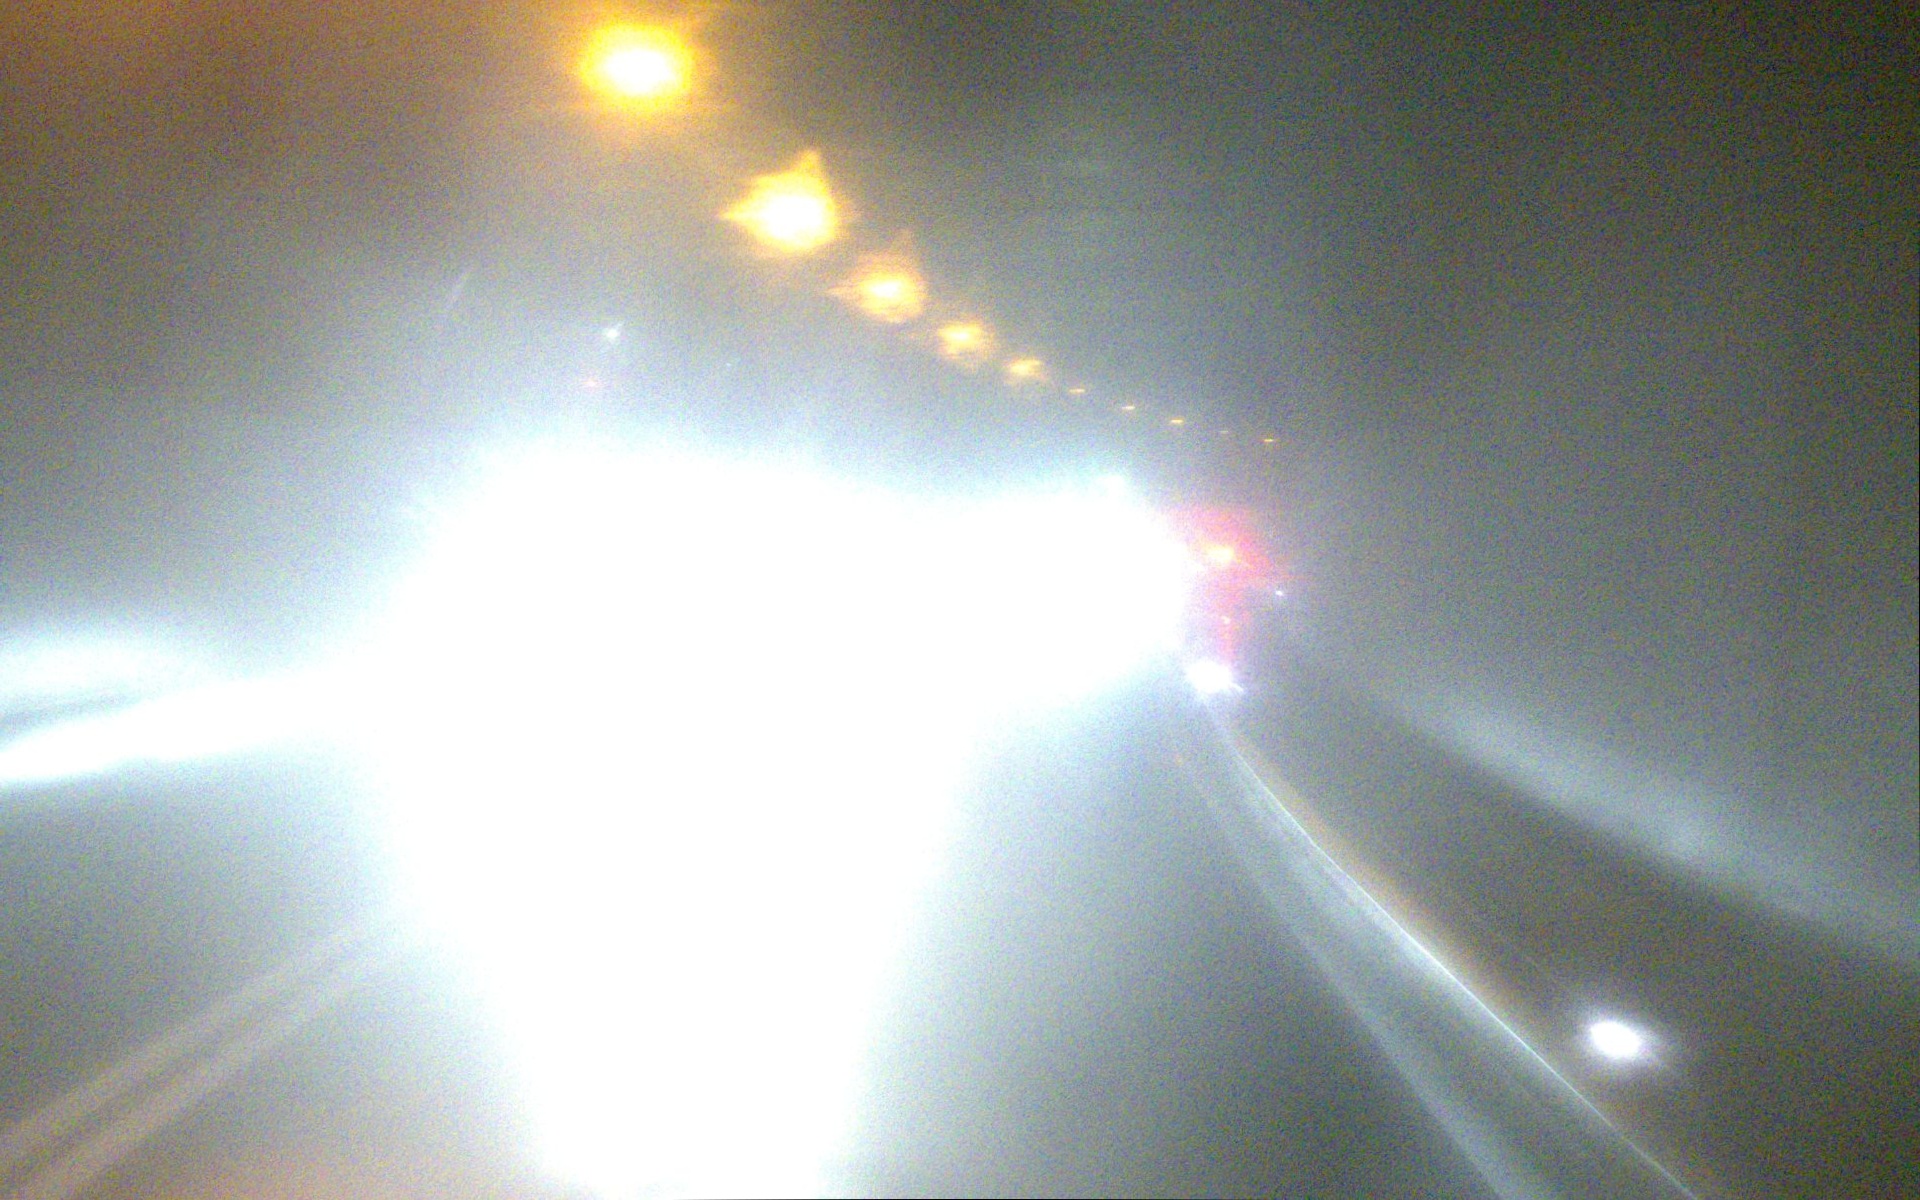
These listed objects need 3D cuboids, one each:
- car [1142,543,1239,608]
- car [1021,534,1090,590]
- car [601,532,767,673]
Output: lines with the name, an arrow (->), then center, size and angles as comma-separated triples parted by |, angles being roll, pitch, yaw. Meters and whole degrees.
car -> 6.113, -0.669, 90.959 | 1.994, 1.645, 3.998 | 0, 1, 12
car -> 2.458, -0.979, 87.752 | 1.630, 1.392, 4.000 | 0, 1, 4
car -> -2.949, -0.014, 37.324 | 1.625, 1.442, 3.937 | 0, 1, -2
